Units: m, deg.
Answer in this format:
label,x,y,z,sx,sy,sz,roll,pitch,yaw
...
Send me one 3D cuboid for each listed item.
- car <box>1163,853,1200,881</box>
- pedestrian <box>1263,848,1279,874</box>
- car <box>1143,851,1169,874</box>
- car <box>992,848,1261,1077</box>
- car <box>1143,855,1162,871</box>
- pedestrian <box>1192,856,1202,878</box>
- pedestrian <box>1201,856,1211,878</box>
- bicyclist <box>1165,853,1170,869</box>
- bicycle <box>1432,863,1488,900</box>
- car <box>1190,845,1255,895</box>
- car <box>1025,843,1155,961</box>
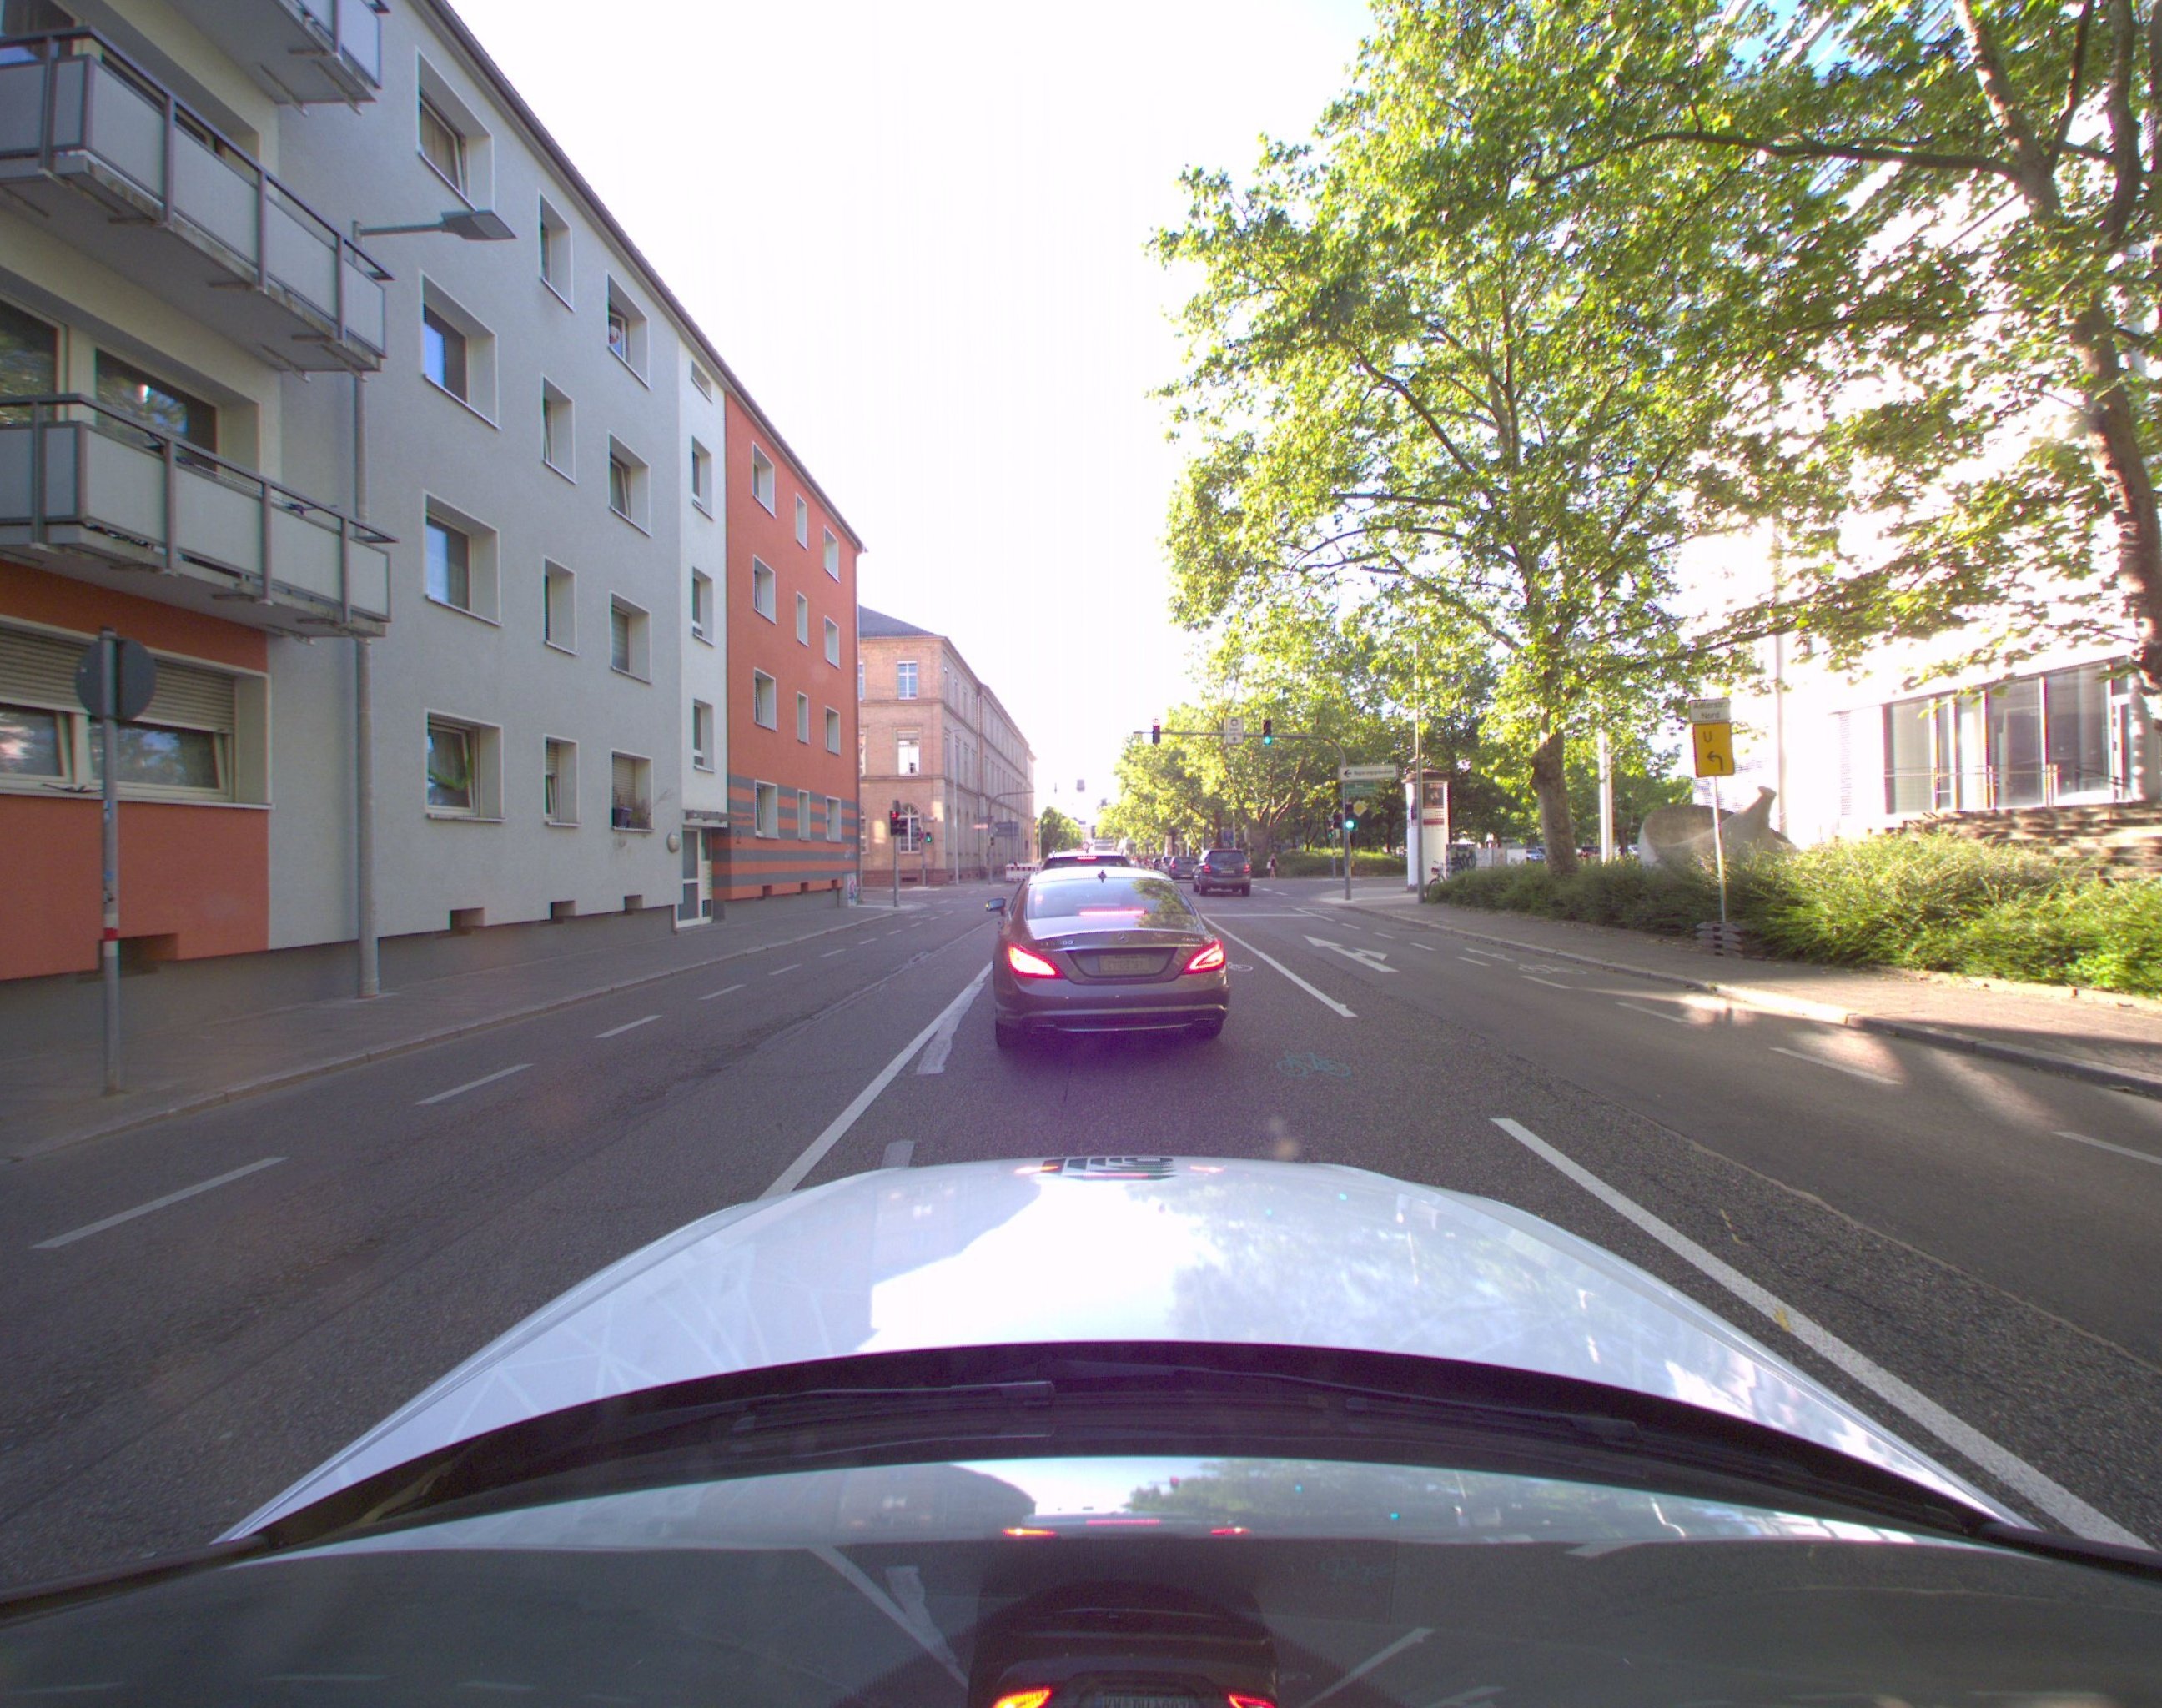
label,x,y,z,sx,sy,sz,roll,pitch,yaw
car,5.619,0.701,46.016,1.698,1.519,4.002,-1,0,2
pedestrian,11.483,0.447,49.206,0.636,1.545,0.907,0,-1,-11
car,5.564,0.662,60.838,1.725,1.662,3.682,0,-1,2
car,0.142,0.736,7.590,1.859,1.519,3.992,-1,0,-6
car,6.938,0.881,78.855,1.595,1.549,3.682,0,-1,2
pedestrian,9.477,1.033,66.431,0.634,1.797,0.698,0,-1,-2
pedestrian,10.179,1.080,66.411,0.634,1.760,0.698,0,-1,-2
bicyclist,11.156,0.850,104.960,0.593,2.039,0.566,0,-1,-3
bicycle,10.981,0.779,23.565,1.895,1.028,0.635,0,-1,-36
car,5.343,0.569,31.263,1.854,1.764,4.483,-1,0,2
car,0.190,0.694,13.725,1.854,1.682,4.002,-1,0,2
